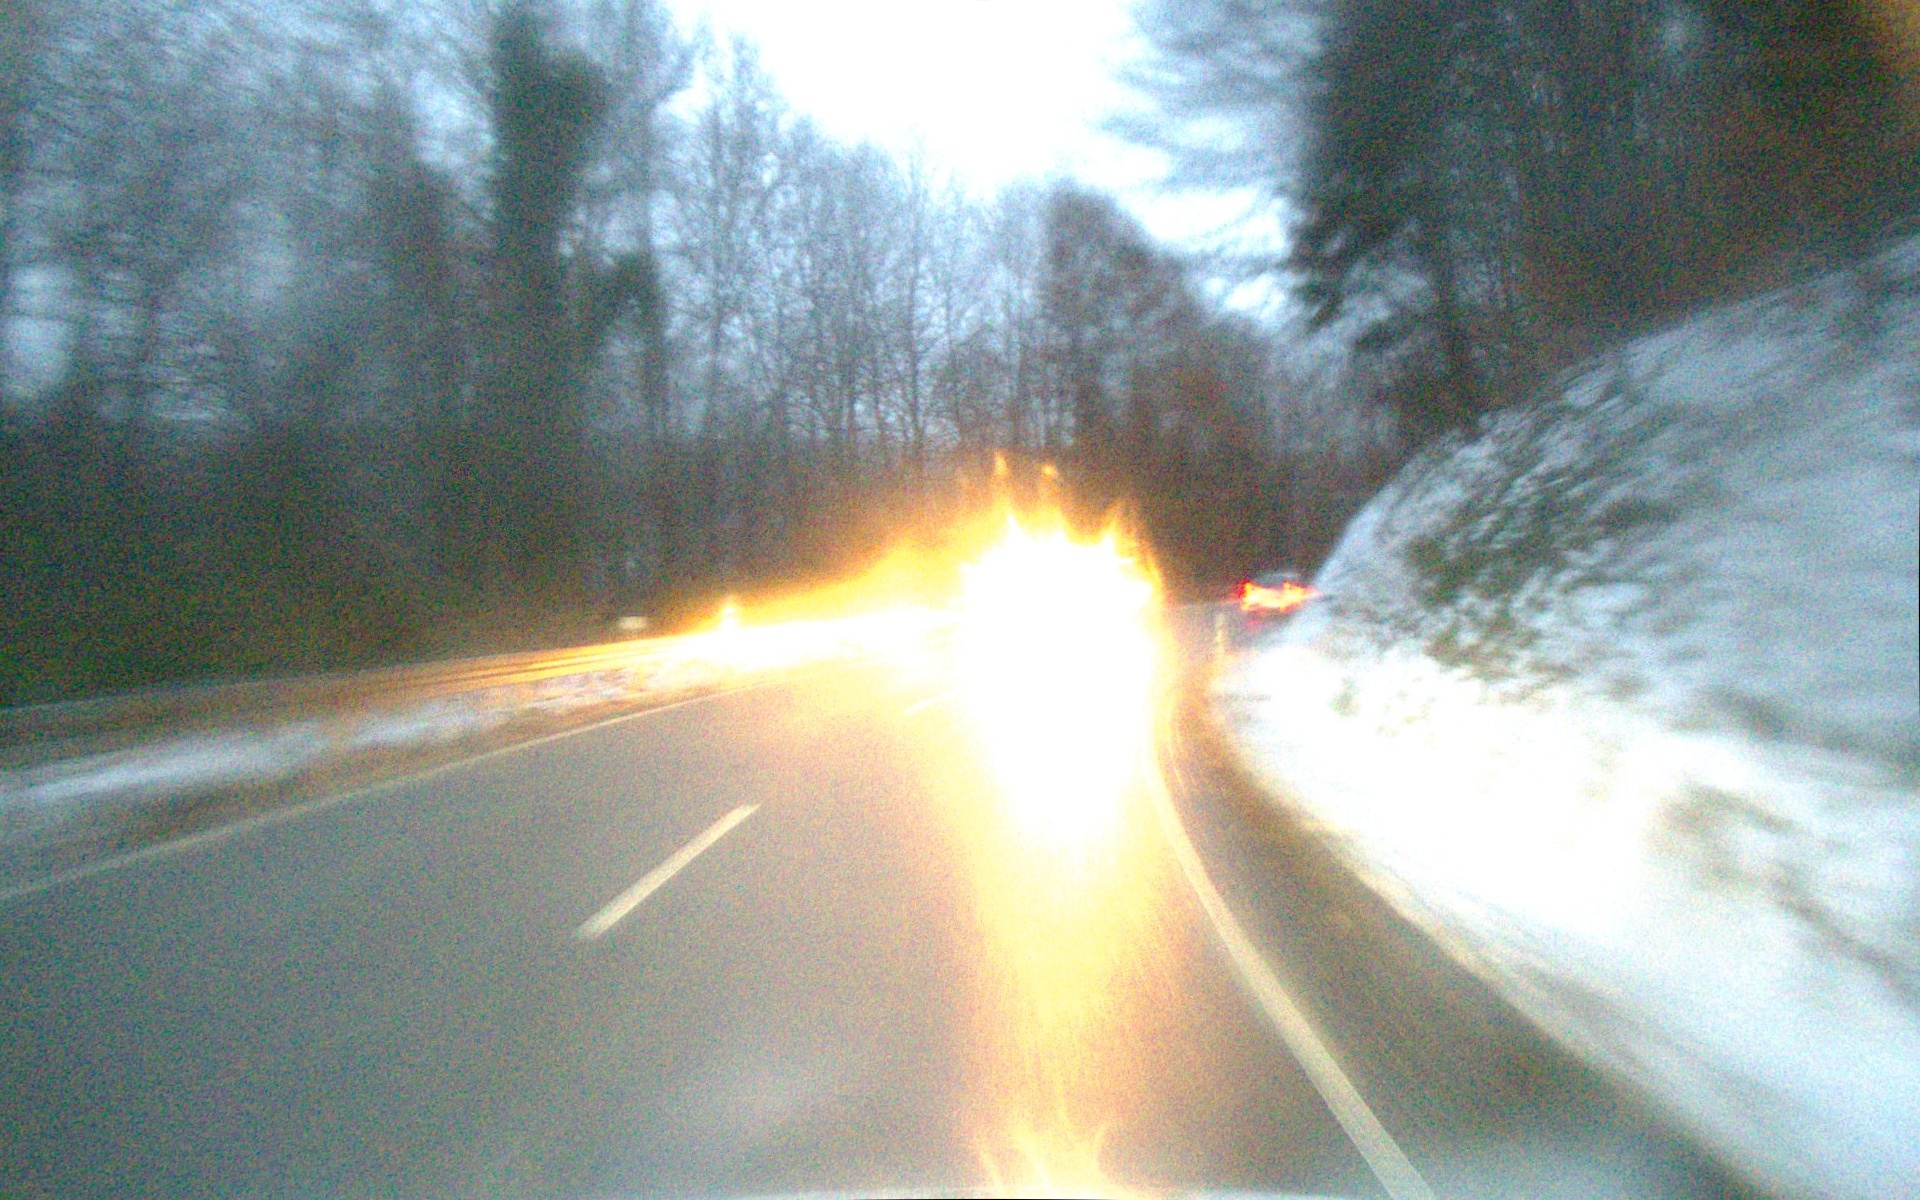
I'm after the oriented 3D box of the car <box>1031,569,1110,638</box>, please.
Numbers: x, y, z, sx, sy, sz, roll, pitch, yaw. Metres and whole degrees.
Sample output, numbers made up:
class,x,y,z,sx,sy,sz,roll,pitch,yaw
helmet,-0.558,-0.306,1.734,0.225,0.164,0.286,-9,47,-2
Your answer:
class,x,y,z,sx,sy,sz,roll,pitch,yaw
car,2.871,0.058,42.377,1.685,1.658,4.003,1,1,9

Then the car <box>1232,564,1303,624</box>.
class,x,y,z,sx,sy,sz,roll,pitch,yaw
car,10.404,-0.203,55.776,1.951,1.905,4.003,-1,0,16
